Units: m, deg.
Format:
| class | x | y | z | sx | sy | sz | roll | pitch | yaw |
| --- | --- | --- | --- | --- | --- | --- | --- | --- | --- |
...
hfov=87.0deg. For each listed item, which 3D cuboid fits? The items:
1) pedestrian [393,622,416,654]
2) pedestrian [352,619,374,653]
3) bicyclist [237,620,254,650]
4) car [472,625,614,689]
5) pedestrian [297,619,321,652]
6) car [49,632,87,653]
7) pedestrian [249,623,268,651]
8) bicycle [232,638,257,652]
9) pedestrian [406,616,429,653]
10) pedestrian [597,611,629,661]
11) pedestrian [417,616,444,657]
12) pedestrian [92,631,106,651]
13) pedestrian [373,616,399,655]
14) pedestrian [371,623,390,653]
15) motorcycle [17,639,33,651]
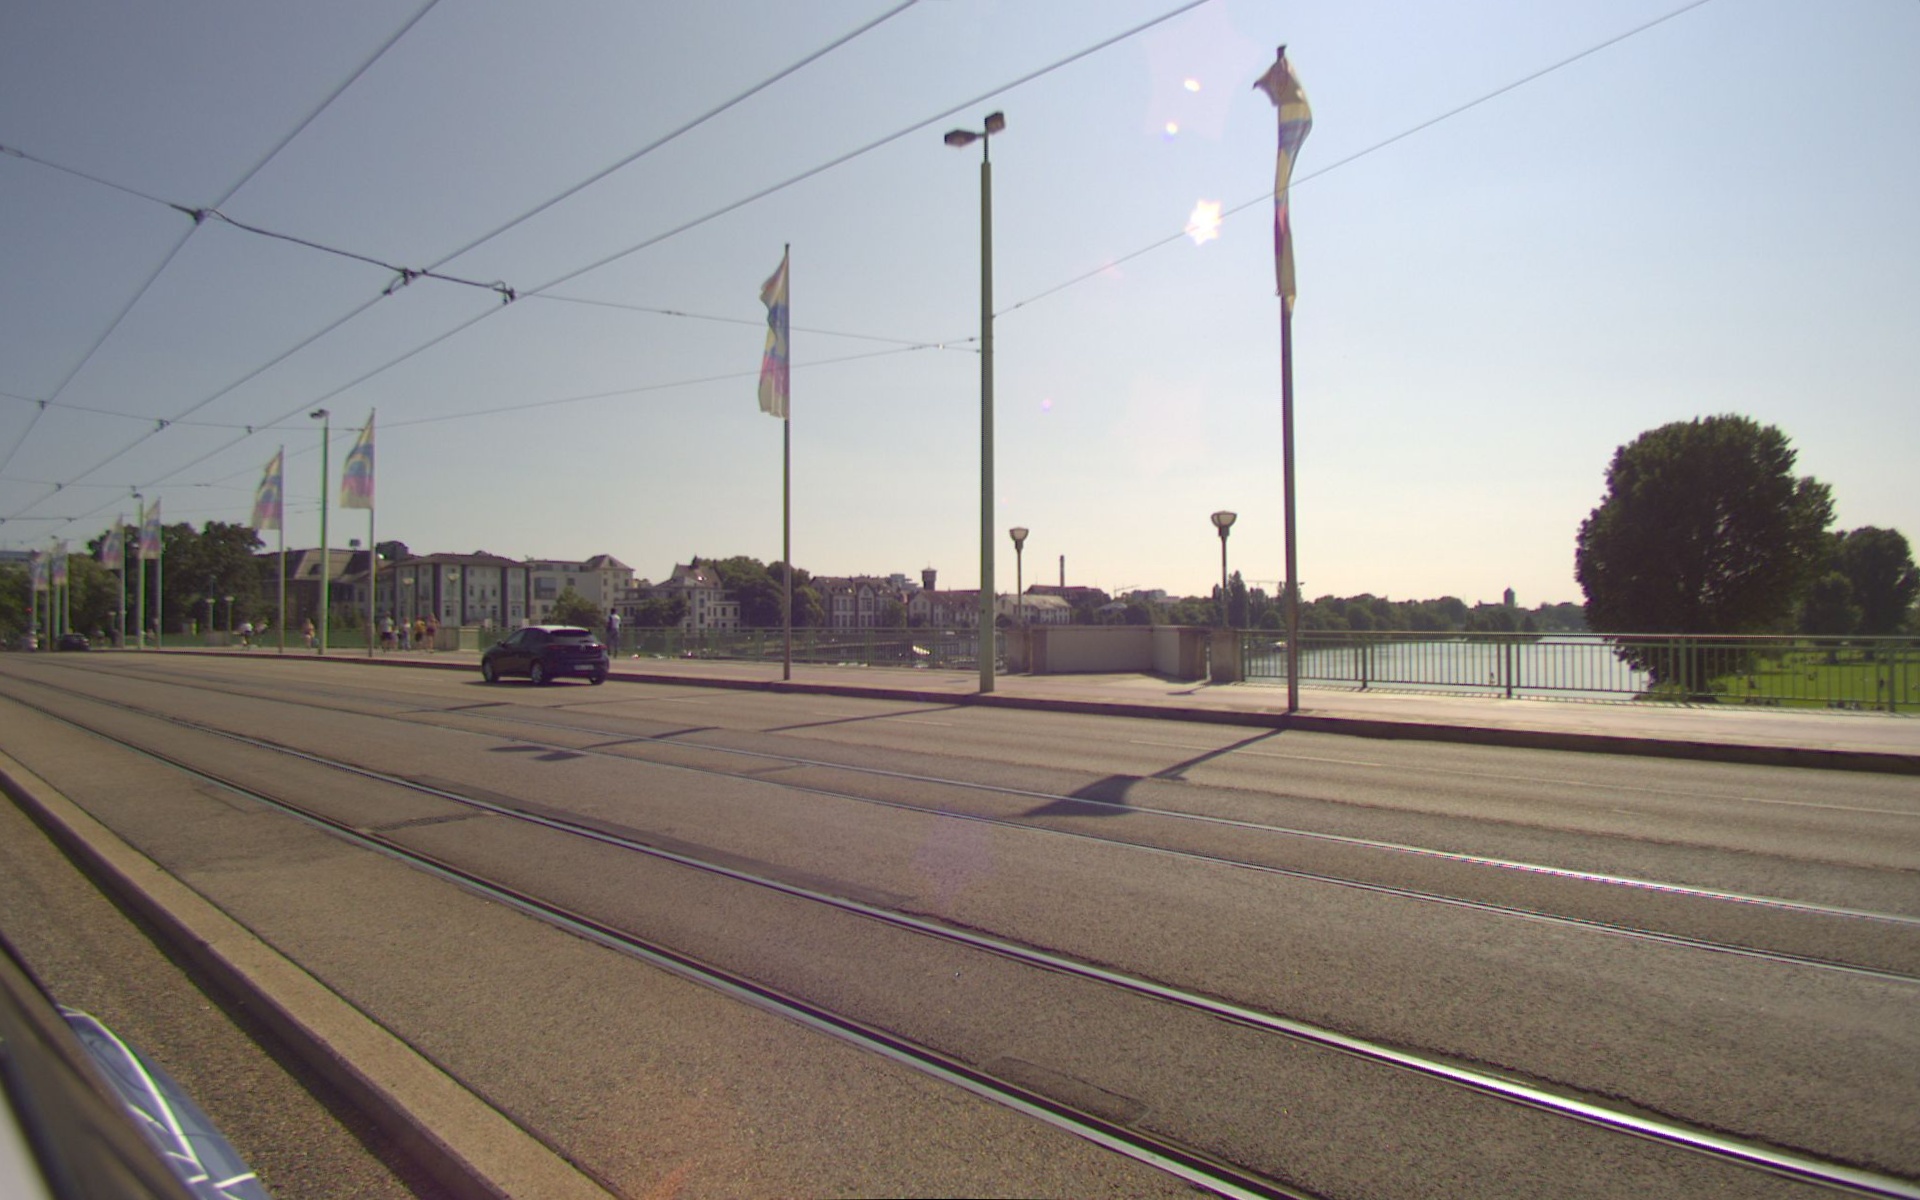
| class | x | y | z | sx | sy | sz | roll | pitch | yaw |
| --- | --- | --- | --- | --- | --- | --- | --- | --- | --- |
| pedestrian | -25.481 | 1.753 | 46.406 | 1.022 | 1.425 | 0.584 | -1 | 0 | 41 |
| pedestrian | -29.568 | 1.775 | 50.110 | 1.022 | 1.611 | 0.619 | -1 | 0 | 41 |
| bicyclist | -40.142 | 1.947 | 56.854 | 0.621 | 1.663 | 0.657 | -2 | -2 | 42 |
| car | -10.366 | 1.359 | 25.051 | 3.900 | 1.465 | 1.698 | -1 | -3 | 41 |
| pedestrian | -35.026 | 1.923 | 54.449 | 1.022 | 1.712 | 0.777 | -1 | 0 | 41 |
| car | -65.314 | 3.073 | 74.077 | 3.999 | 1.447 | 1.650 | -1 | -2 | 42 |
| pedestrian | -44.762 | 2.361 | 64.574 | 1.022 | 1.712 | 0.777 | -1 | 0 | 41 |
| bicycle | -40.240 | 2.525 | 56.930 | 2.172 | 0.721 | 0.658 | -1 | -2 | 42 |
| pedestrian | -25.583 | 1.640 | 47.743 | 1.022 | 1.712 | 0.584 | -1 | 0 | 41 |
| pedestrian | -12.319 | 1.264 | 35.923 | 1.022 | 1.712 | 0.584 | -1 | 0 | 41 |
| pedestrian | -22.453 | 1.537 | 42.905 | 1.022 | 1.703 | 0.677 | -1 | 0 | 41 |
| pedestrian | -75.923 | 3.592 | 89.218 | 1.022 | 1.712 | 0.777 | -1 | 0 | 41 |
| pedestrian | -26.173 | 1.620 | 46.143 | 1.022 | 1.712 | 0.663 | -1 | 0 | 41 |
| pedestrian | -29.107 | 1.905 | 50.832 | 0.788 | 1.448 | 0.540 | -1 | 0 | 41 |
| motorcycle | -80.554 | 3.855 | 87.172 | 2.144 | 0.895 | 0.725 | -1 | 3 | 41 |
